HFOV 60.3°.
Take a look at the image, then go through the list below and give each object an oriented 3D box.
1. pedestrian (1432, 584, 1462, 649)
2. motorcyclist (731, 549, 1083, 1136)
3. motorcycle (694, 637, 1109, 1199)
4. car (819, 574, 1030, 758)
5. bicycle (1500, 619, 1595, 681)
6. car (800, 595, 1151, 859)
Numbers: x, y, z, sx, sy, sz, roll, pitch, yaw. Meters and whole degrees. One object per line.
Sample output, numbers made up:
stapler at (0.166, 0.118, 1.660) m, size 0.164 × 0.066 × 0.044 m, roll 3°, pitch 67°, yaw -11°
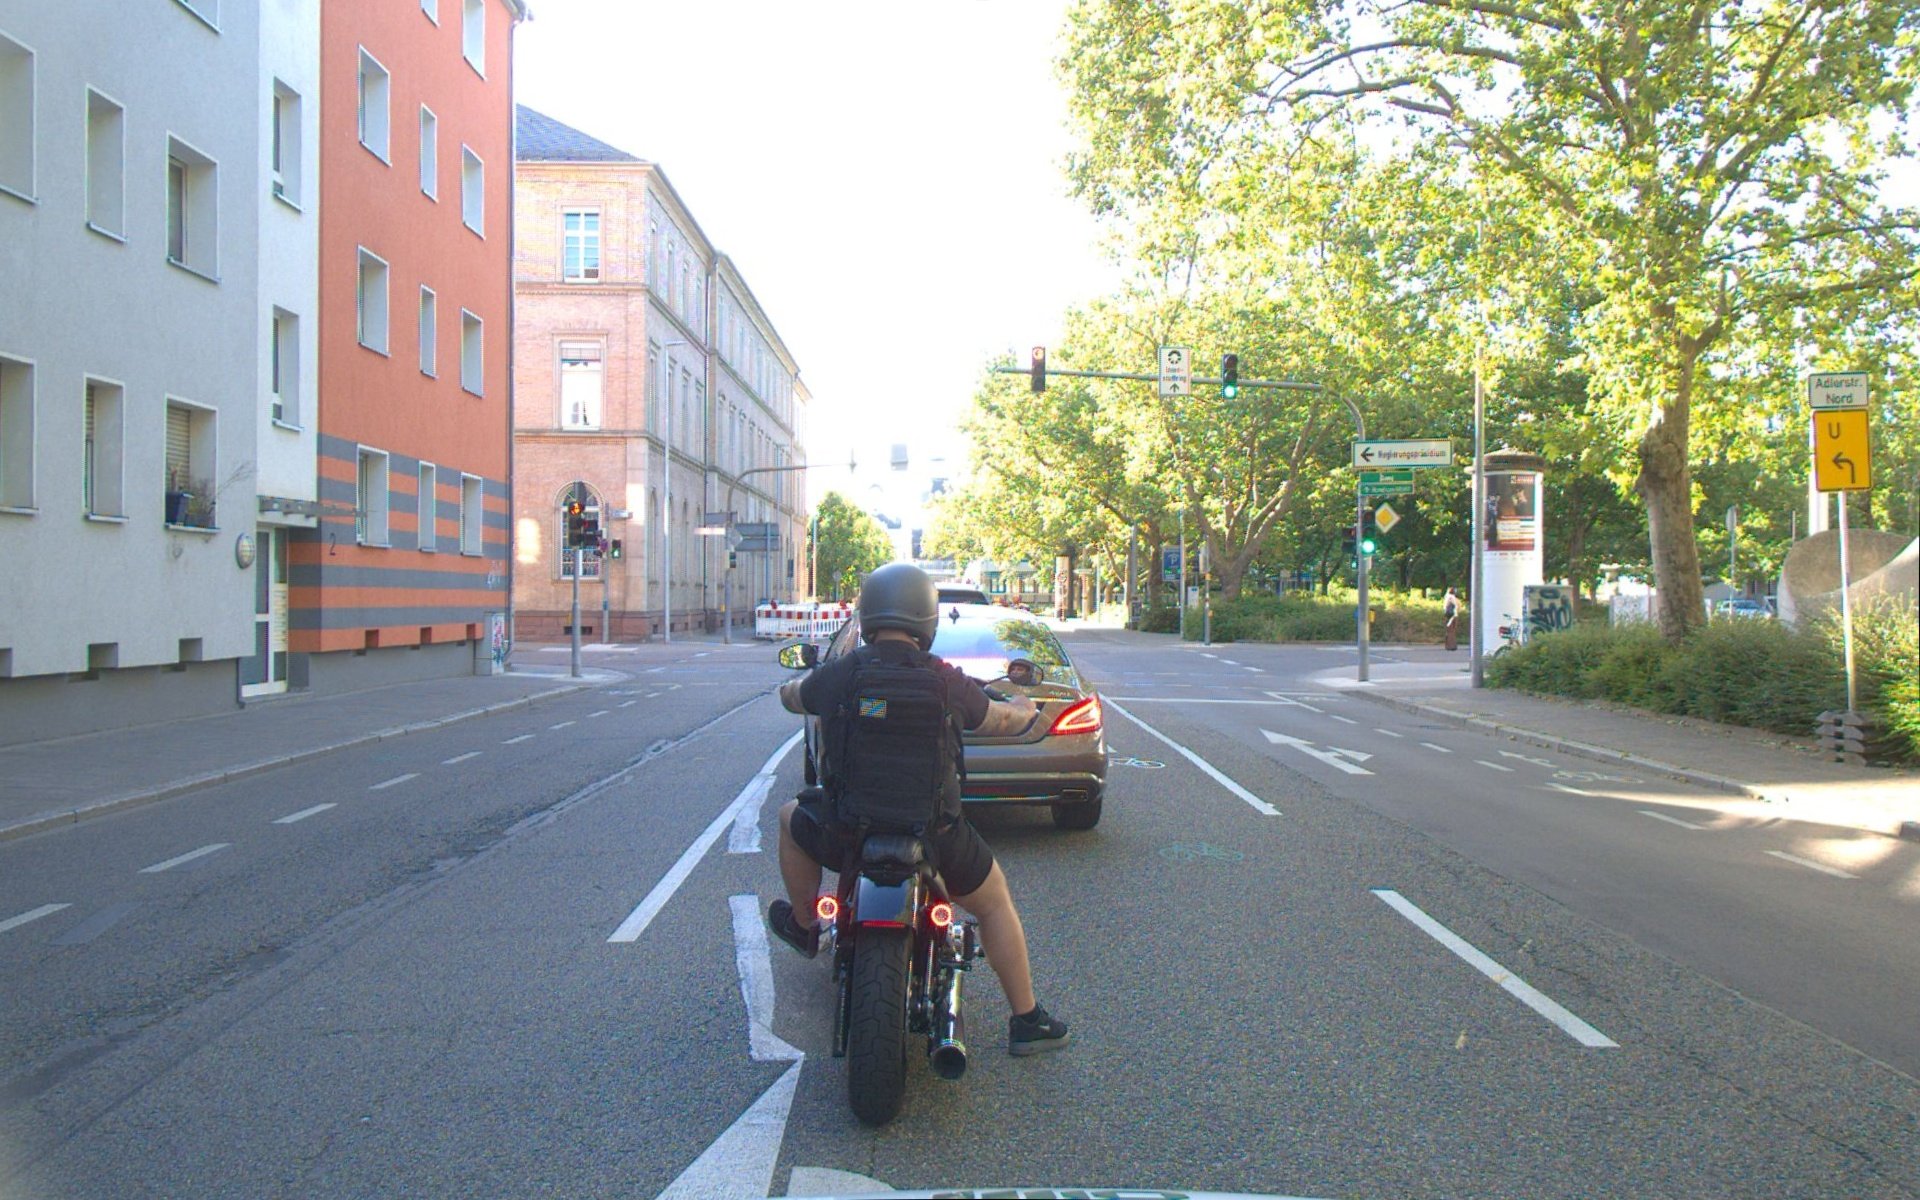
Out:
pedestrian at (13.546, 0.456, 45.972) m, size 0.664 × 1.803 × 0.616 m, roll 1°, pitch -1°, yaw 29°
motorcyclist at (-0.154, 0.663, 5.163) m, size 0.961 × 1.606 × 1.248 m, roll 0°, pitch 0°, yaw -1°
motorcycle at (-0.153, 0.794, 5.048) m, size 0.961 × 1.297 × 2.407 m, roll 0°, pitch 0°, yaw -1°
car at (-0.357, 0.632, 17.531) m, size 1.953 × 1.695 × 3.999 m, roll 1°, pitch 0°, yaw -1°
bicycle at (9.793, 0.835, 27.589) m, size 1.452 × 0.997 × 0.299 m, roll 1°, pitch -1°, yaw 5°
car at (-0.108, 0.708, 11.612) m, size 1.834 × 1.469 × 4.422 m, roll 0°, pitch 0°, yaw -8°
